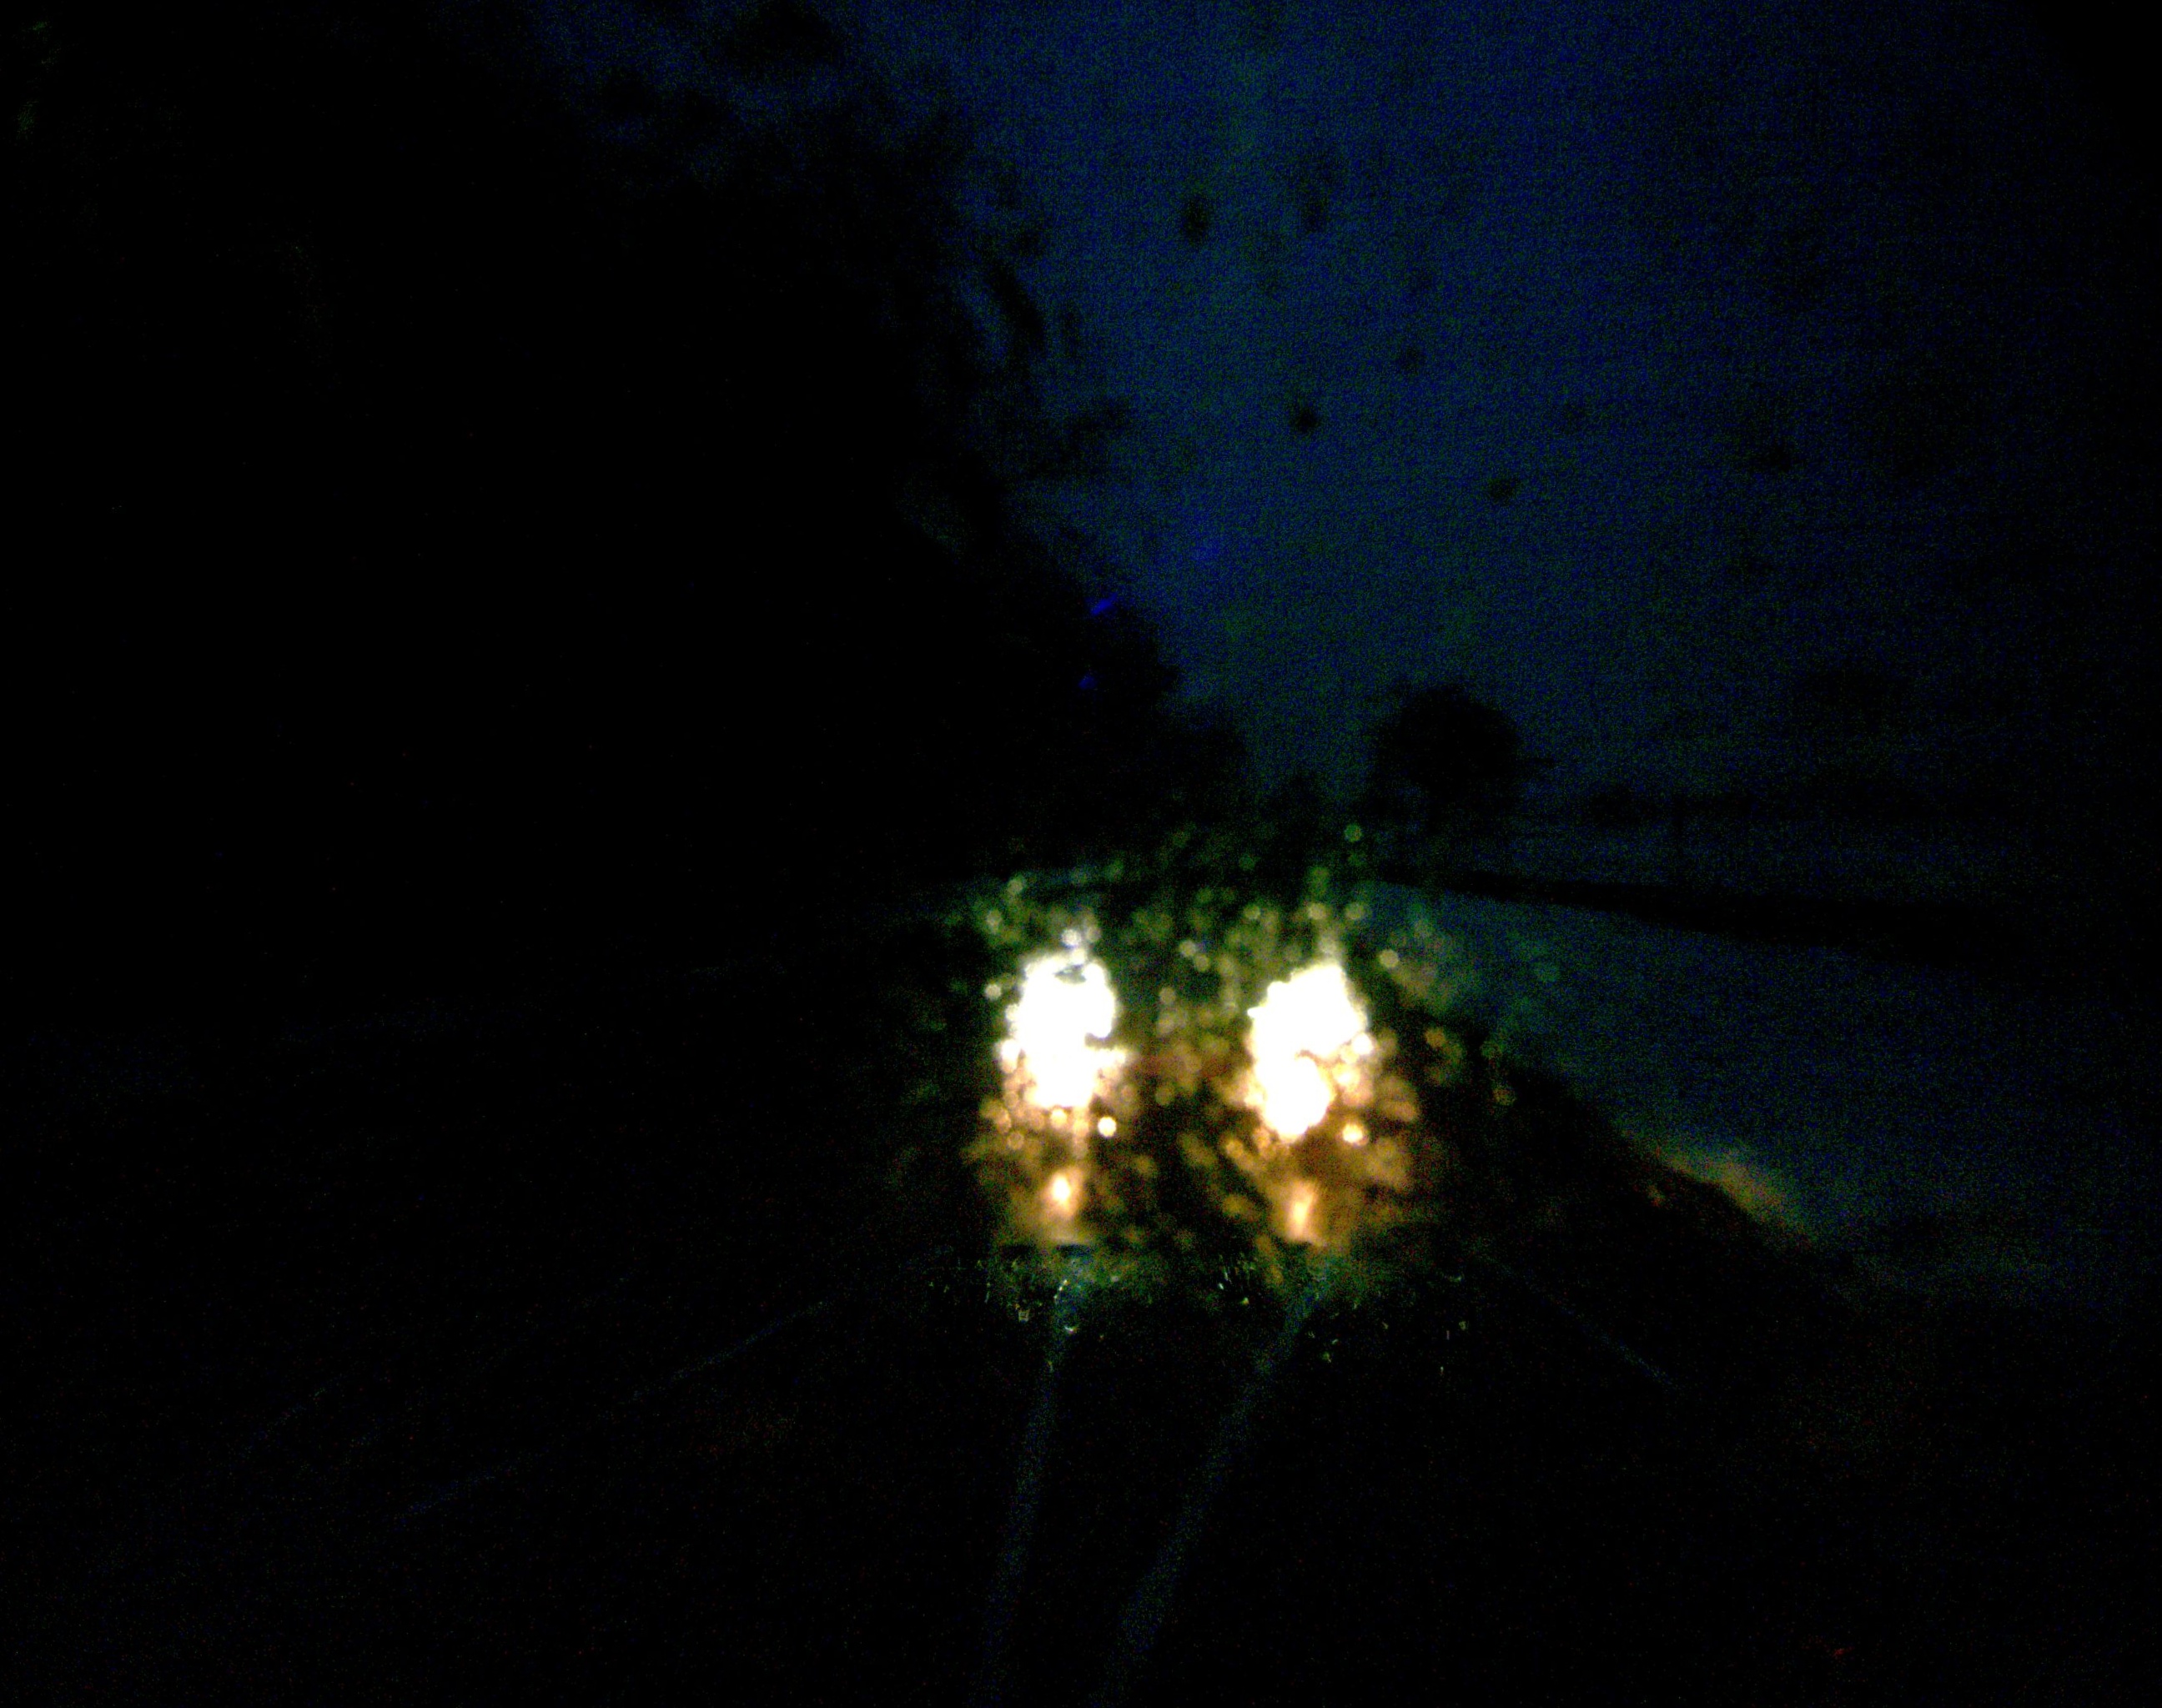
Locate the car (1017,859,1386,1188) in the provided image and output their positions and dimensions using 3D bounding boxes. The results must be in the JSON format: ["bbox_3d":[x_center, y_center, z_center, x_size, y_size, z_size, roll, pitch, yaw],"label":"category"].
[{"bbox_3d":[0.803,0.843,5.501,1.724,1.426,3.678,-2,2,8],"label":"car"}]

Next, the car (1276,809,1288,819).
[{"bbox_3d":[37.326,-7.476,141.241,1.996,1.797,4.002,-1,2,14],"label":"car"}]
